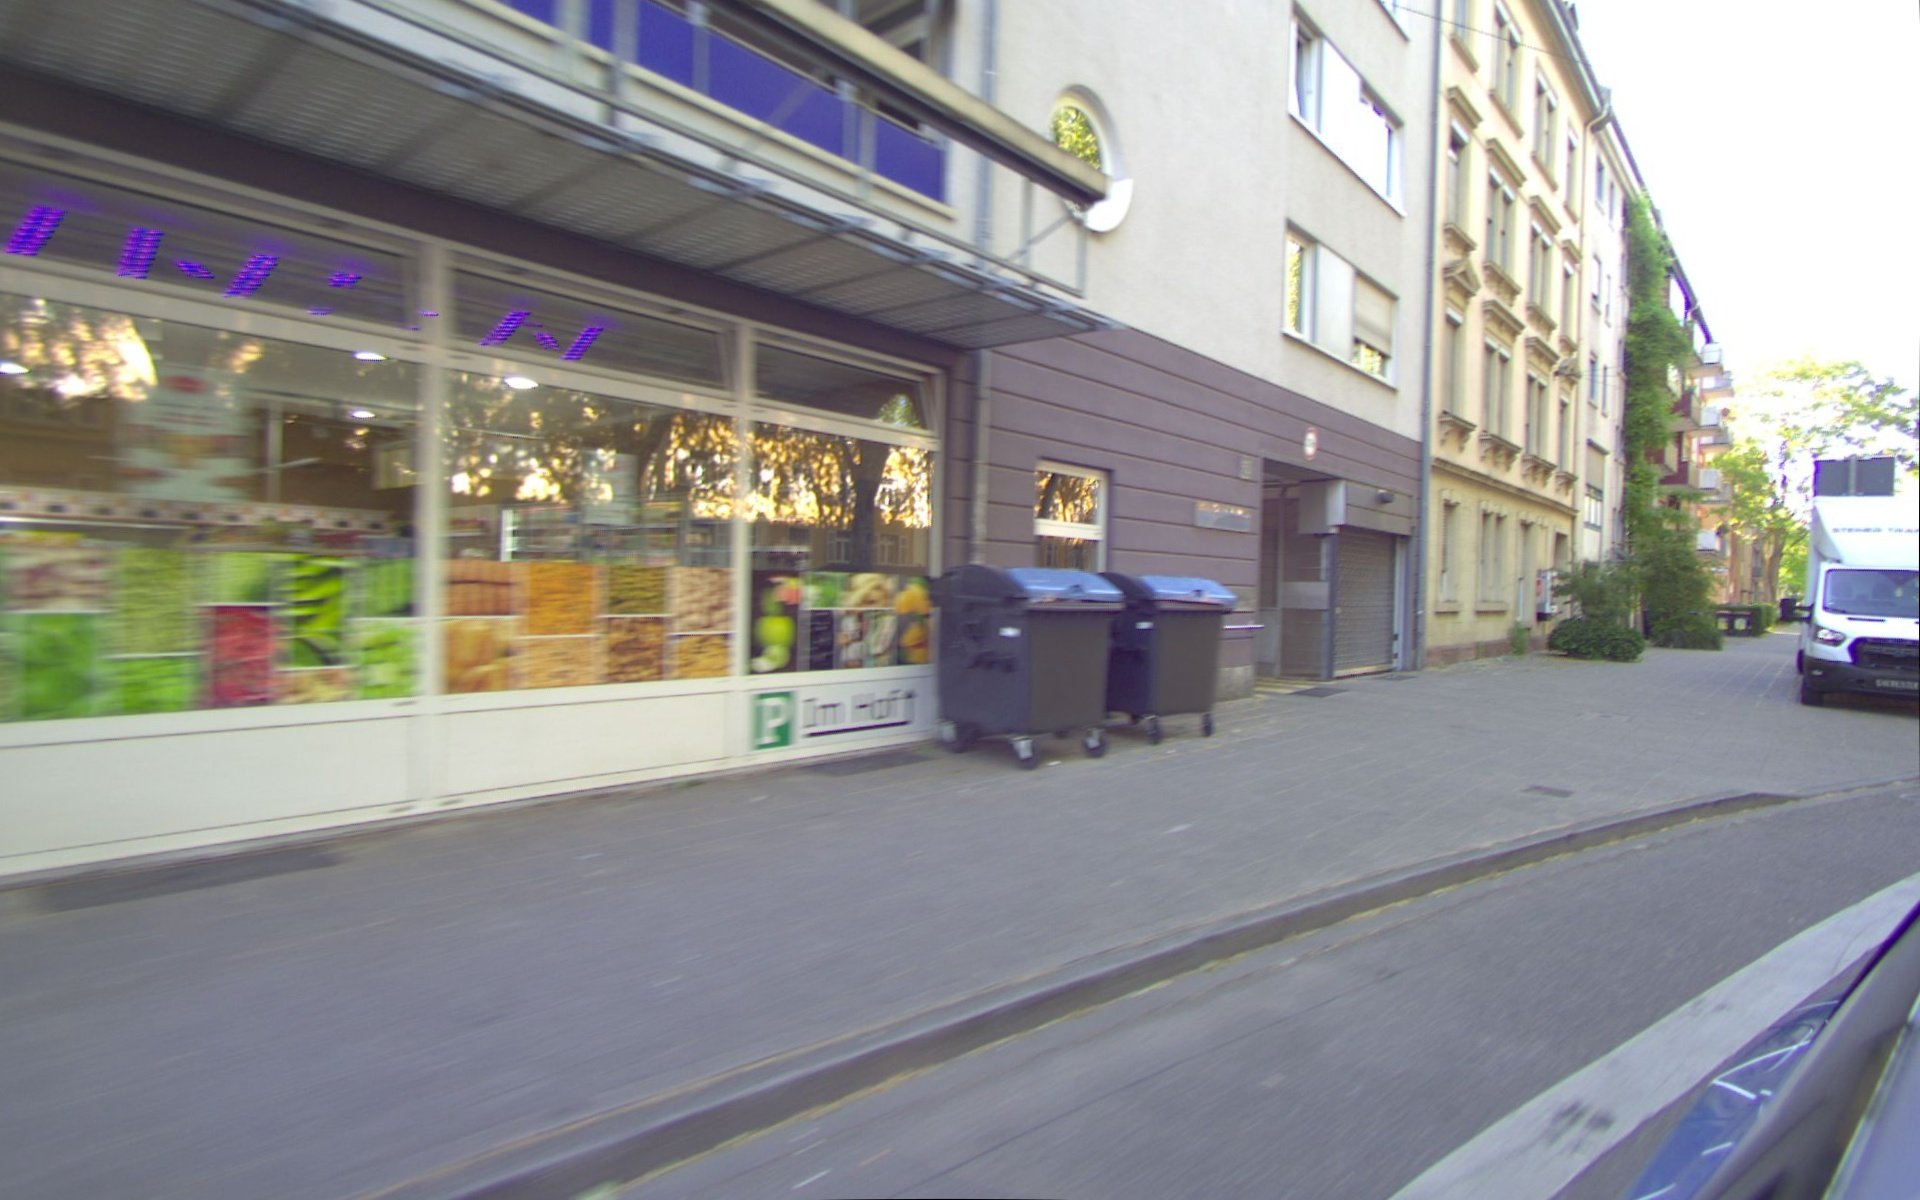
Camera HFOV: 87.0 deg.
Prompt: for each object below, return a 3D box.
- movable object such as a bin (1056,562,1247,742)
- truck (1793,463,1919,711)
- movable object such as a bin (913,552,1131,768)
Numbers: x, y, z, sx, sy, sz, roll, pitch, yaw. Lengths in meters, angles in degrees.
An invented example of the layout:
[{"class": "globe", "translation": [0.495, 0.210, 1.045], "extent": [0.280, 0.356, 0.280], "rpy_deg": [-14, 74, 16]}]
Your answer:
[{"class": "movable object such as a bin", "translation": [1.723, 0.412, 9.110], "extent": [1.283, 1.464, 1.122], "rpy_deg": [0, 1, -42]}, {"class": "truck", "translation": [15.287, -0.169, 16.362], "extent": [2.375, 3.222, 8.410], "rpy_deg": [6, 4, 38]}, {"class": "movable object such as a bin", "translation": [0.484, 0.390, 7.713], "extent": [1.067, 1.464, 1.276], "rpy_deg": [2, 1, 43]}]
